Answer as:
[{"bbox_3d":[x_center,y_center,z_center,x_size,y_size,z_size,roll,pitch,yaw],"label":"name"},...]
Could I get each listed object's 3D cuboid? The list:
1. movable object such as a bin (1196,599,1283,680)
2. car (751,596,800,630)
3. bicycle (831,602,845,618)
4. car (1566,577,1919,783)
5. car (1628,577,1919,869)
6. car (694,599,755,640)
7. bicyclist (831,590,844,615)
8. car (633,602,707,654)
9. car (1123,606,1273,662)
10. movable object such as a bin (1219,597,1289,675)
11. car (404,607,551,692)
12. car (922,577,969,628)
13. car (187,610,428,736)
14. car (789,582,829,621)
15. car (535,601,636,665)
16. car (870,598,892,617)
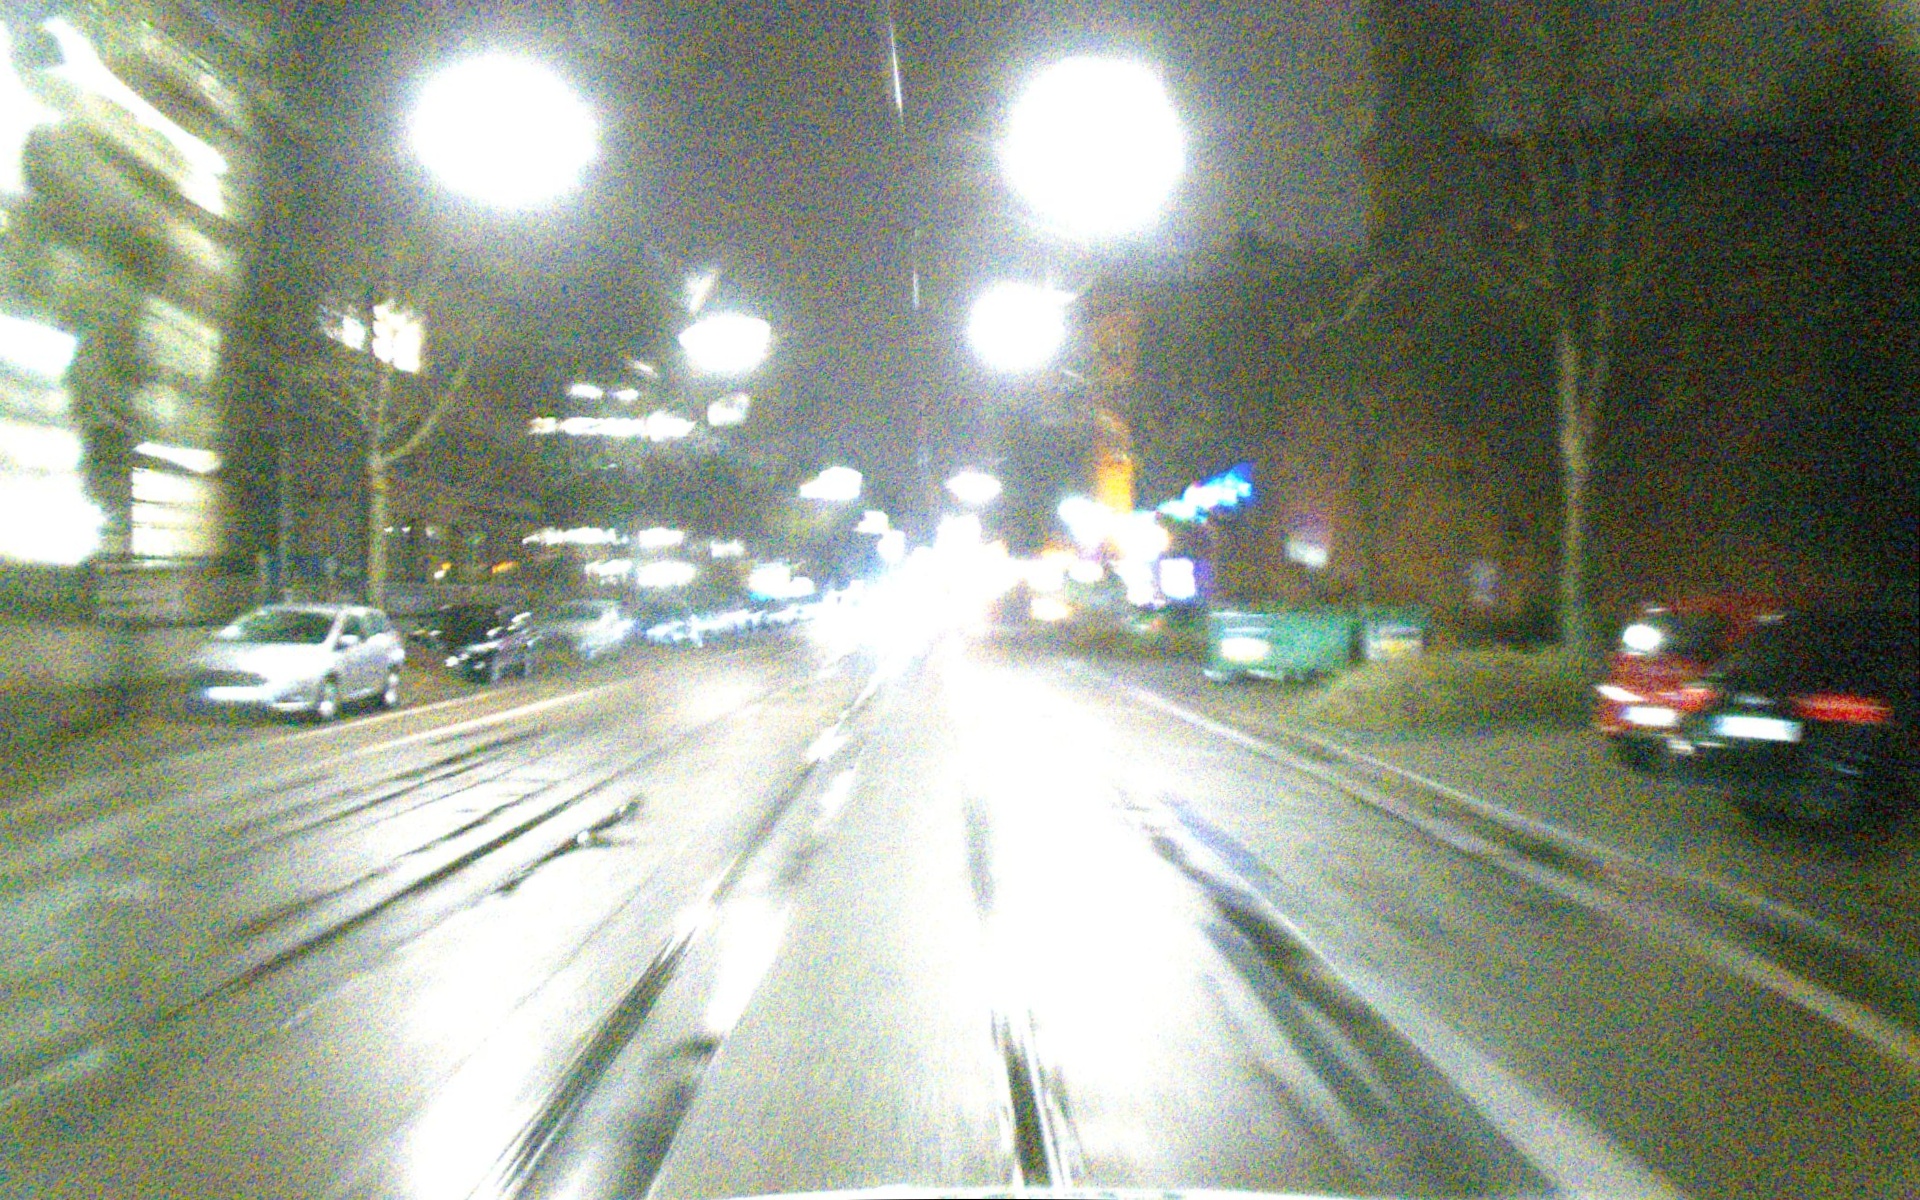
[{"bbox_3d":[5.169,0.715,30.671,1.296,1.433,1.158,-2,0,-6],"label":"movable object such as a bin"},{"bbox_3d":[-9.615,0.649,86.605,1.929,1.684,4.601,2,0,1],"label":"car"},{"bbox_3d":[-8.407,0.689,114.014,0.766,1.101,1.918,-2,0,-1],"label":"bicycle"},{"bbox_3d":[7.326,0.610,14.387,3.638,1.544,1.649,-2,0,-20],"label":"car"},{"bbox_3d":[6.645,0.600,10.369,4.519,1.501,1.829,-2,0,-21],"label":"car"},{"bbox_3d":[-9.695,0.775,68.441,1.943,1.659,4.516,0,0,-1],"label":"car"},{"bbox_3d":[-8.428,0.178,114.020,0.766,1.684,1.206,-2,0,-1],"label":"bicyclist"},{"bbox_3d":[-9.541,0.893,54.658,1.843,1.572,4.396,3,0,-4],"label":"car"},{"bbox_3d":[7.024,0.980,48.813,4.043,1.564,1.944,0,0,-27],"label":"car"},{"bbox_3d":[5.670,0.681,31.927,1.183,1.447,1.101,-2,0,4],"label":"movable object such as a bin"},{"bbox_3d":[-9.143,0.891,31.673,1.803,1.448,4.206,-1,0,-4],"label":"car"},{"bbox_3d":[-0.760,0.113,81.272,2.199,2.402,4.392,0,0,-2],"label":"car"},{"bbox_3d":[-8.724,0.903,22.550,1.738,1.465,4.604,-1,0,-4],"label":"car"},{"bbox_3d":[-10.742,0.084,117.949,2.140,2.637,6.393,0,1,1],"label":"car"},{"bbox_3d":[-9.549,0.797,42.505,1.851,1.488,4.955,-1,0,-5],"label":"car"},{"bbox_3d":[-6.612,0.630,138.744,1.740,1.544,4.050,0,1,-1],"label":"car"}]
